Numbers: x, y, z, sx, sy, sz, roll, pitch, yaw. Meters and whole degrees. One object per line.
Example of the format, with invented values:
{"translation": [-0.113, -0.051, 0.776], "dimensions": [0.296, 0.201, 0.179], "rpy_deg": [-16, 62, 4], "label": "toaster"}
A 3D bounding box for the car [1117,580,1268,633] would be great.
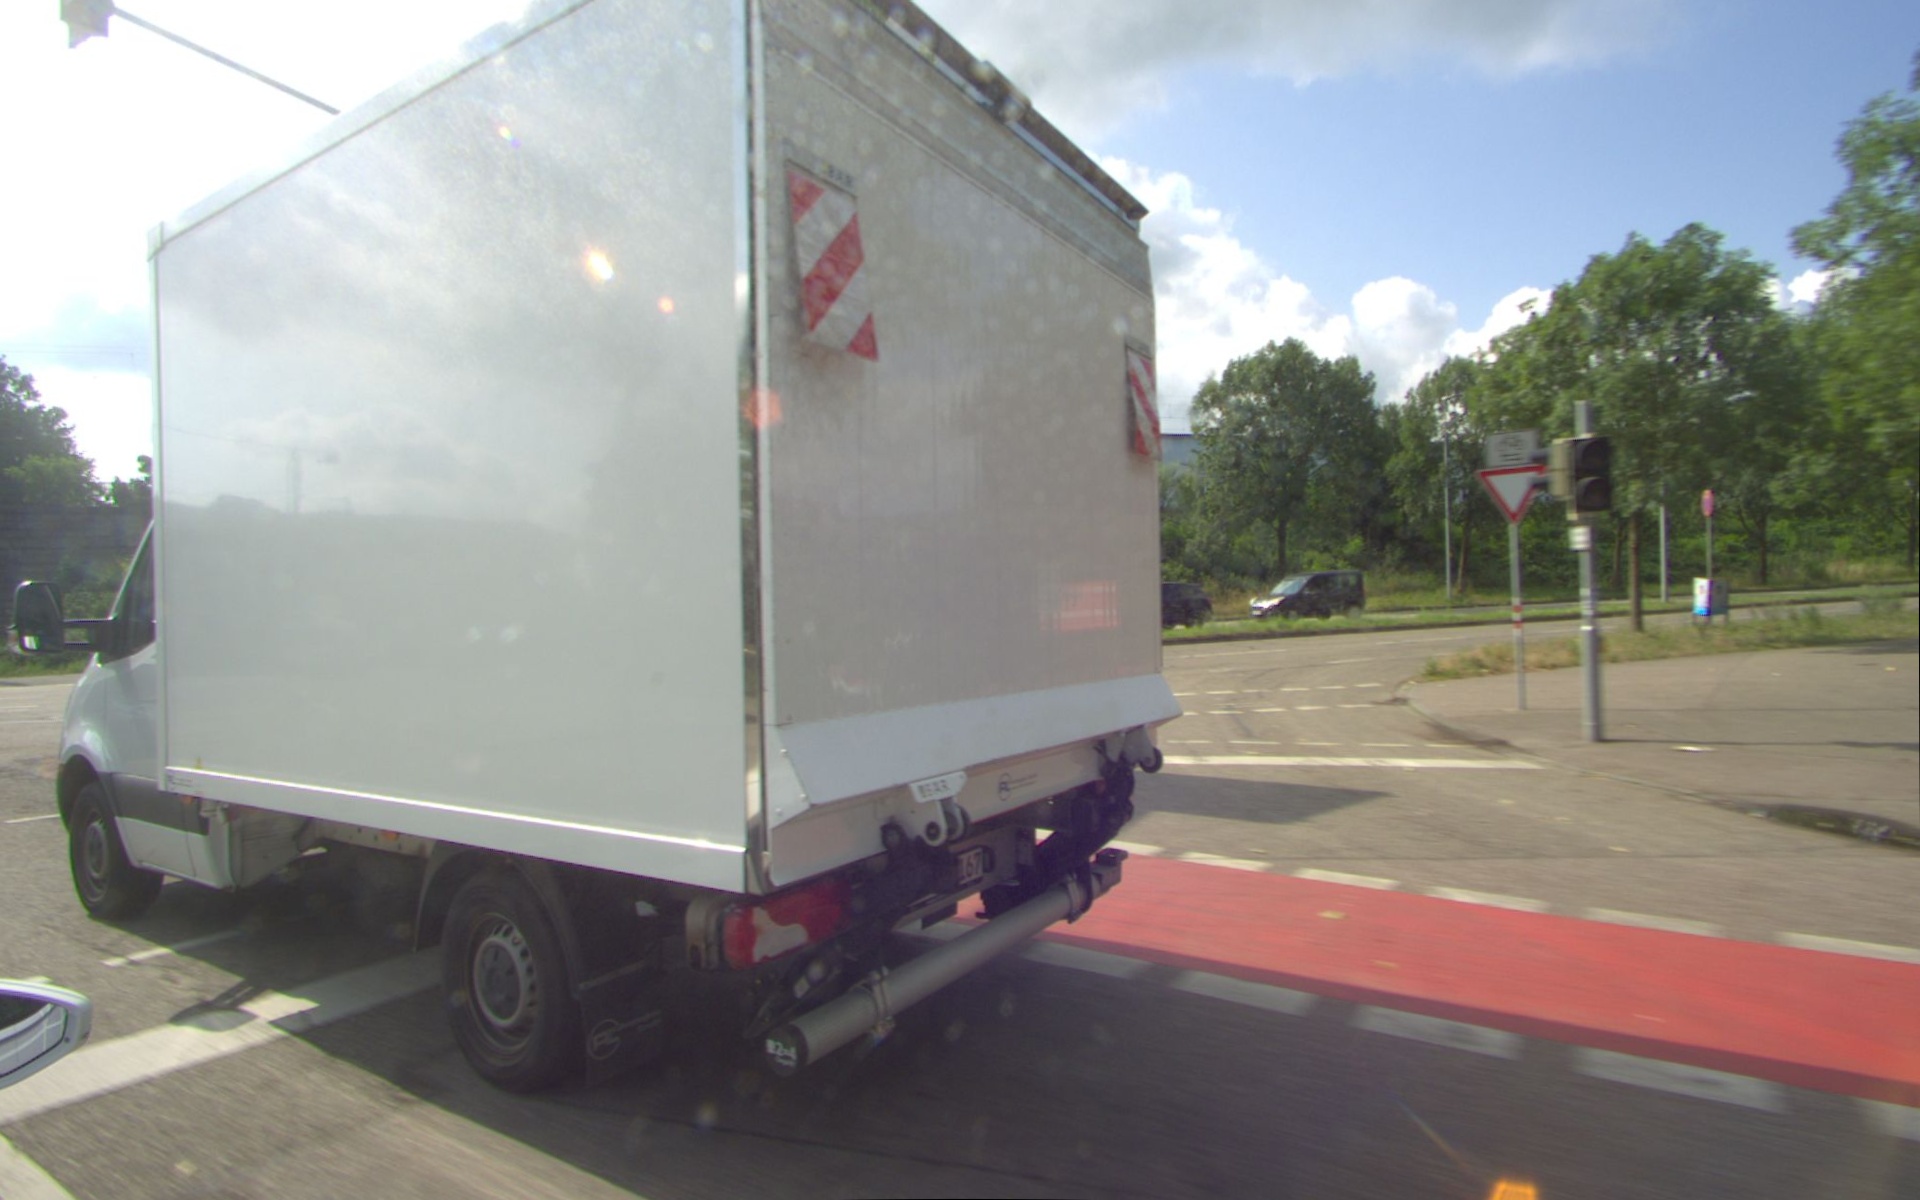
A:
{"translation": [7.884, 0.197, 34.003], "dimensions": [4.718, 1.665, 1.817], "rpy_deg": [-1, 0, -18], "label": "car"}

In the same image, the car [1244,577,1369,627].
{"translation": [12.411, 0.051, 35.874], "dimensions": [4.134, 1.656, 1.639], "rpy_deg": [-1, 0, -21], "label": "car"}

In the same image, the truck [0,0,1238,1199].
{"translation": [-2.035, -0.037, 4.602], "dimensions": [5.943, 3.161, 2.442], "rpy_deg": [-1, -1, 33], "label": "truck"}
